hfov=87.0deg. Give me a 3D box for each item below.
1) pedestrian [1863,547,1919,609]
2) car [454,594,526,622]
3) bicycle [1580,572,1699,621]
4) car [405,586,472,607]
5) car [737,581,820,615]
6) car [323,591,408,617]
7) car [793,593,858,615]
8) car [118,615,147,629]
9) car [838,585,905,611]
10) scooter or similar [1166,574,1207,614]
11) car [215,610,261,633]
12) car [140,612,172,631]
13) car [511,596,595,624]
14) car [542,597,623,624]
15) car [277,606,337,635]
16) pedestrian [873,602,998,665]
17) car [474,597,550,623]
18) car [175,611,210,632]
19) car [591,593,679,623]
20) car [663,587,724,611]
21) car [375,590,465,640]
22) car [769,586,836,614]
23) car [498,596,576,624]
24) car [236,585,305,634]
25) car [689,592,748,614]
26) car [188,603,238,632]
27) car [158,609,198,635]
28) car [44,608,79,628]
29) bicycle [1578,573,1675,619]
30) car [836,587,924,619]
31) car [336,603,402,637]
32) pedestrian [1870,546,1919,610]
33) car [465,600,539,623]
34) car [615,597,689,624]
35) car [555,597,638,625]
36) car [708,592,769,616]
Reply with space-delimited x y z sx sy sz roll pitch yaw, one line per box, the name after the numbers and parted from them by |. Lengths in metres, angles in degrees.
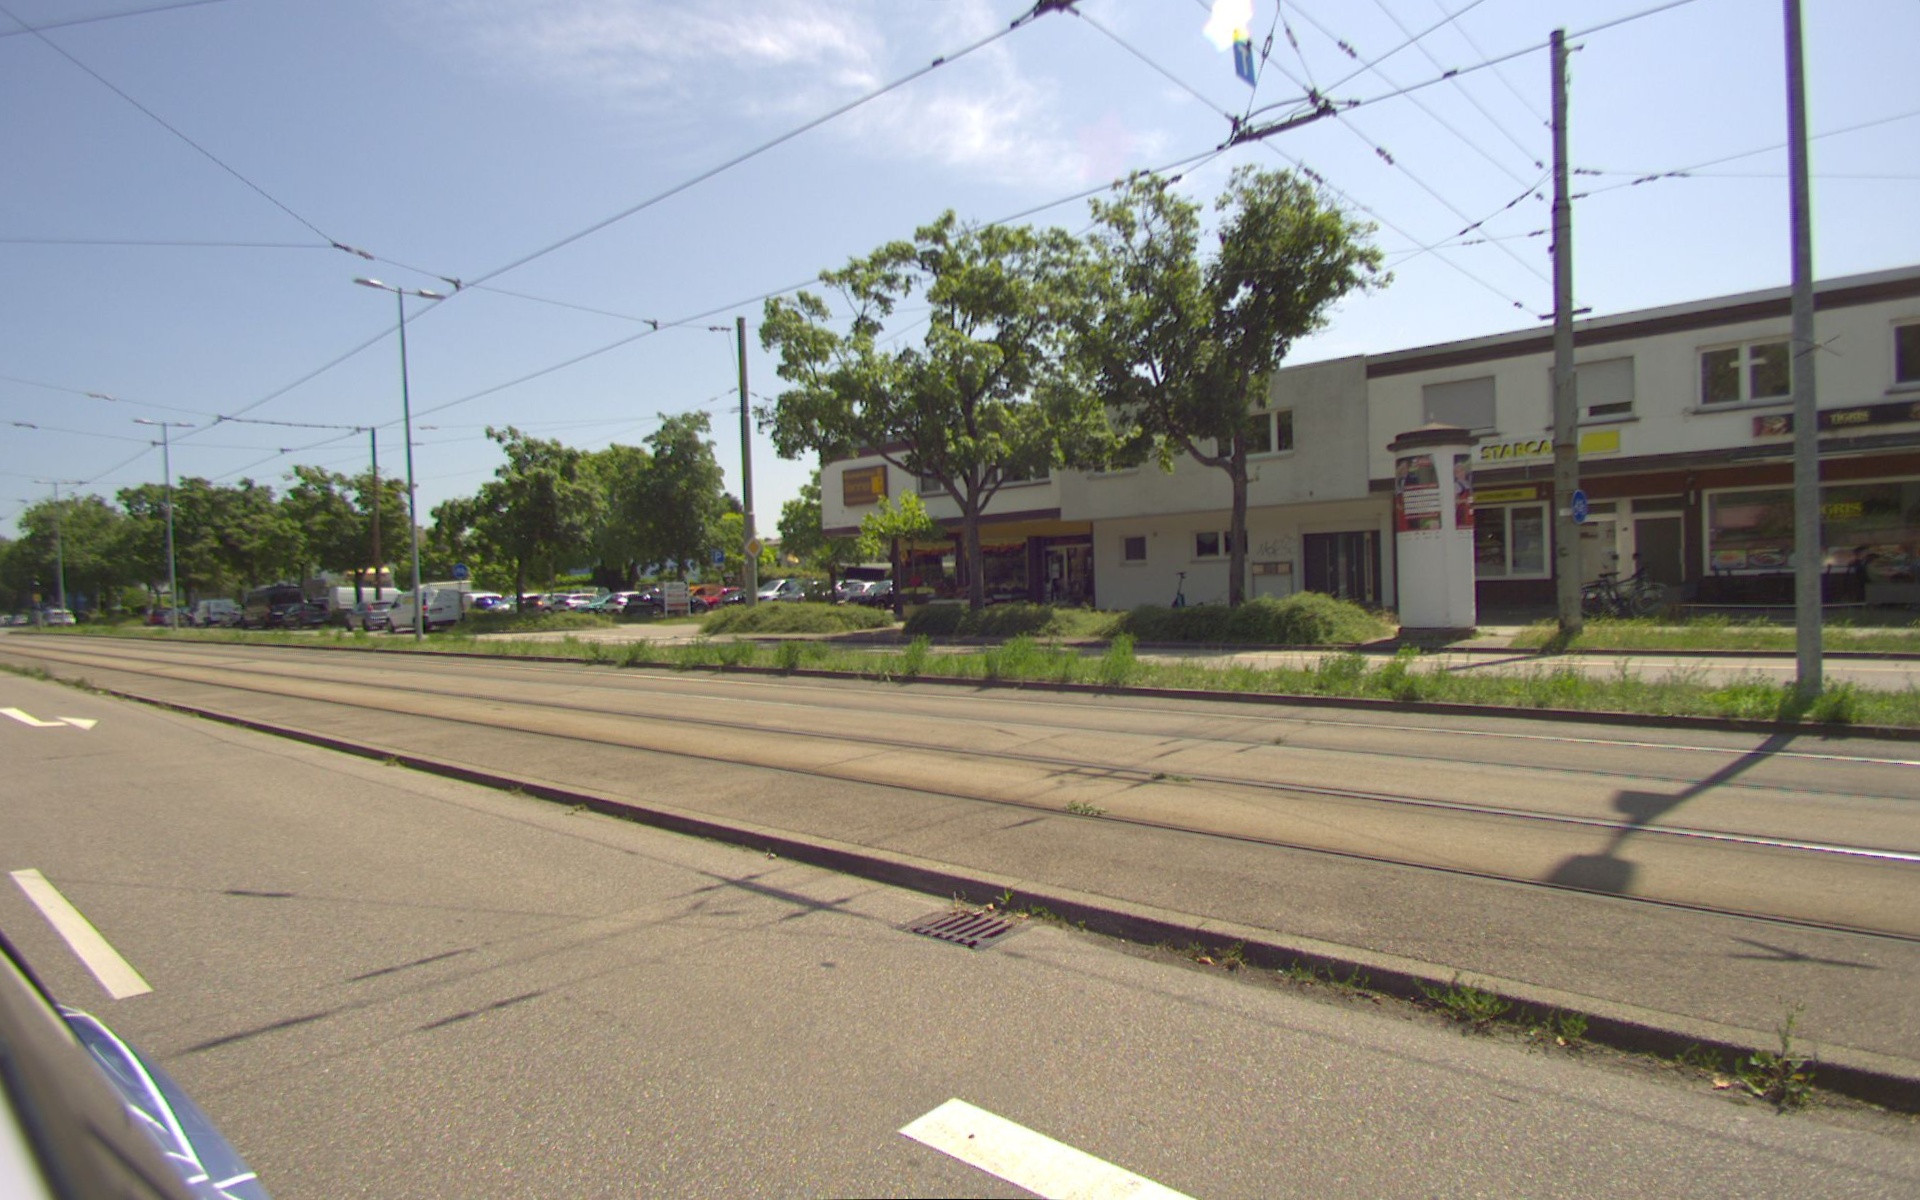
19.729 -0.462 21.469 0.842 1.278 0.583 0 0 41 | pedestrian
-31.190 0.536 67.221 1.794 1.730 3.951 -1 1 37 | car
14.287 -0.071 21.307 2.028 0.986 0.604 0 0 41 | bicycle
-52.780 -0.385 102.546 2.145 2.078 5.674 0 0 38 | car
-11.736 -0.134 65.843 2.225 2.085 5.055 0 0 41 | car
-46.363 0.282 78.963 2.029 1.970 5.363 0 0 42 | car
-8.232 0.233 62.041 1.764 1.294 3.675 0 0 43 | car
-73.862 1.993 90.361 3.423 1.167 1.561 0 0 43 | car
-5.333 -0.113 61.059 1.661 1.531 3.943 0 0 43 | car
7.003 -0.184 31.362 0.448 1.200 1.349 -1 0 -29 | scooter or similar
-48.018 1.409 67.270 3.608 1.475 1.744 0 0 42 | car
-65.183 1.742 82.004 3.423 1.491 1.561 0 0 43 | car
-23.796 0.573 59.325 2.018 1.501 4.117 -1 1 34 | car
-21.644 0.572 58.139 1.855 1.501 4.099 0 0 34 | car
-37.254 1.148 57.690 3.751 1.589 1.950 0 0 42 | car
-0.868 1.096 34.780 3.997 2.029 1.973 0 0 40 | pedestrian
-27.781 0.612 62.854 1.862 1.499 3.955 -1 1 34 | car
-56.651 1.577 74.688 3.261 1.489 1.411 0 0 41 | car
-17.619 0.422 54.948 1.983 1.501 4.120 -1 1 39 | car
-19.101 -0.074 72.641 1.689 1.665 4.082 -1 0 35 | car
-25.118 0.680 46.967 5.342 2.025 1.856 -1 4 42 | car
-9.956 -0.018 64.194 1.804 1.669 3.943 0 0 43 | car
-25.669 0.589 61.495 1.827 1.501 4.030 -1 1 34 | car
-42.128 0.581 61.793 5.666 2.859 2.214 0 0 42 | car
-17.055 0.225 71.524 1.712 1.505 3.953 0 0 35 | car
-52.471 1.172 71.068 4.816 1.963 1.899 0 0 42 | car
-60.158 1.631 77.815 4.495 1.907 1.614 0 0 41 | car
-77.603 1.537 87.387 4.569 1.622 1.705 0 0 42 | car
14.870 -0.087 22.609 1.758 0.986 0.533 0 0 41 | bicycle
-3.669 0.130 46.798 1.682 1.306 3.944 -2 1 42 | car
-29.974 1.003 51.297 4.124 1.513 1.633 -1 4 42 | car
19.315 -0.445 20.825 0.842 1.278 0.583 0 0 41 | pedestrian
-29.460 0.732 65.145 1.794 1.417 3.950 -1 0 37 | car
-16.048 0.539 52.821 1.639 1.241 3.385 -1 1 34 | car
-20.112 0.595 56.142 1.908 1.501 3.995 0 0 34 | car
-15.184 0.237 69.450 1.683 1.597 3.948 0 0 39 | car
